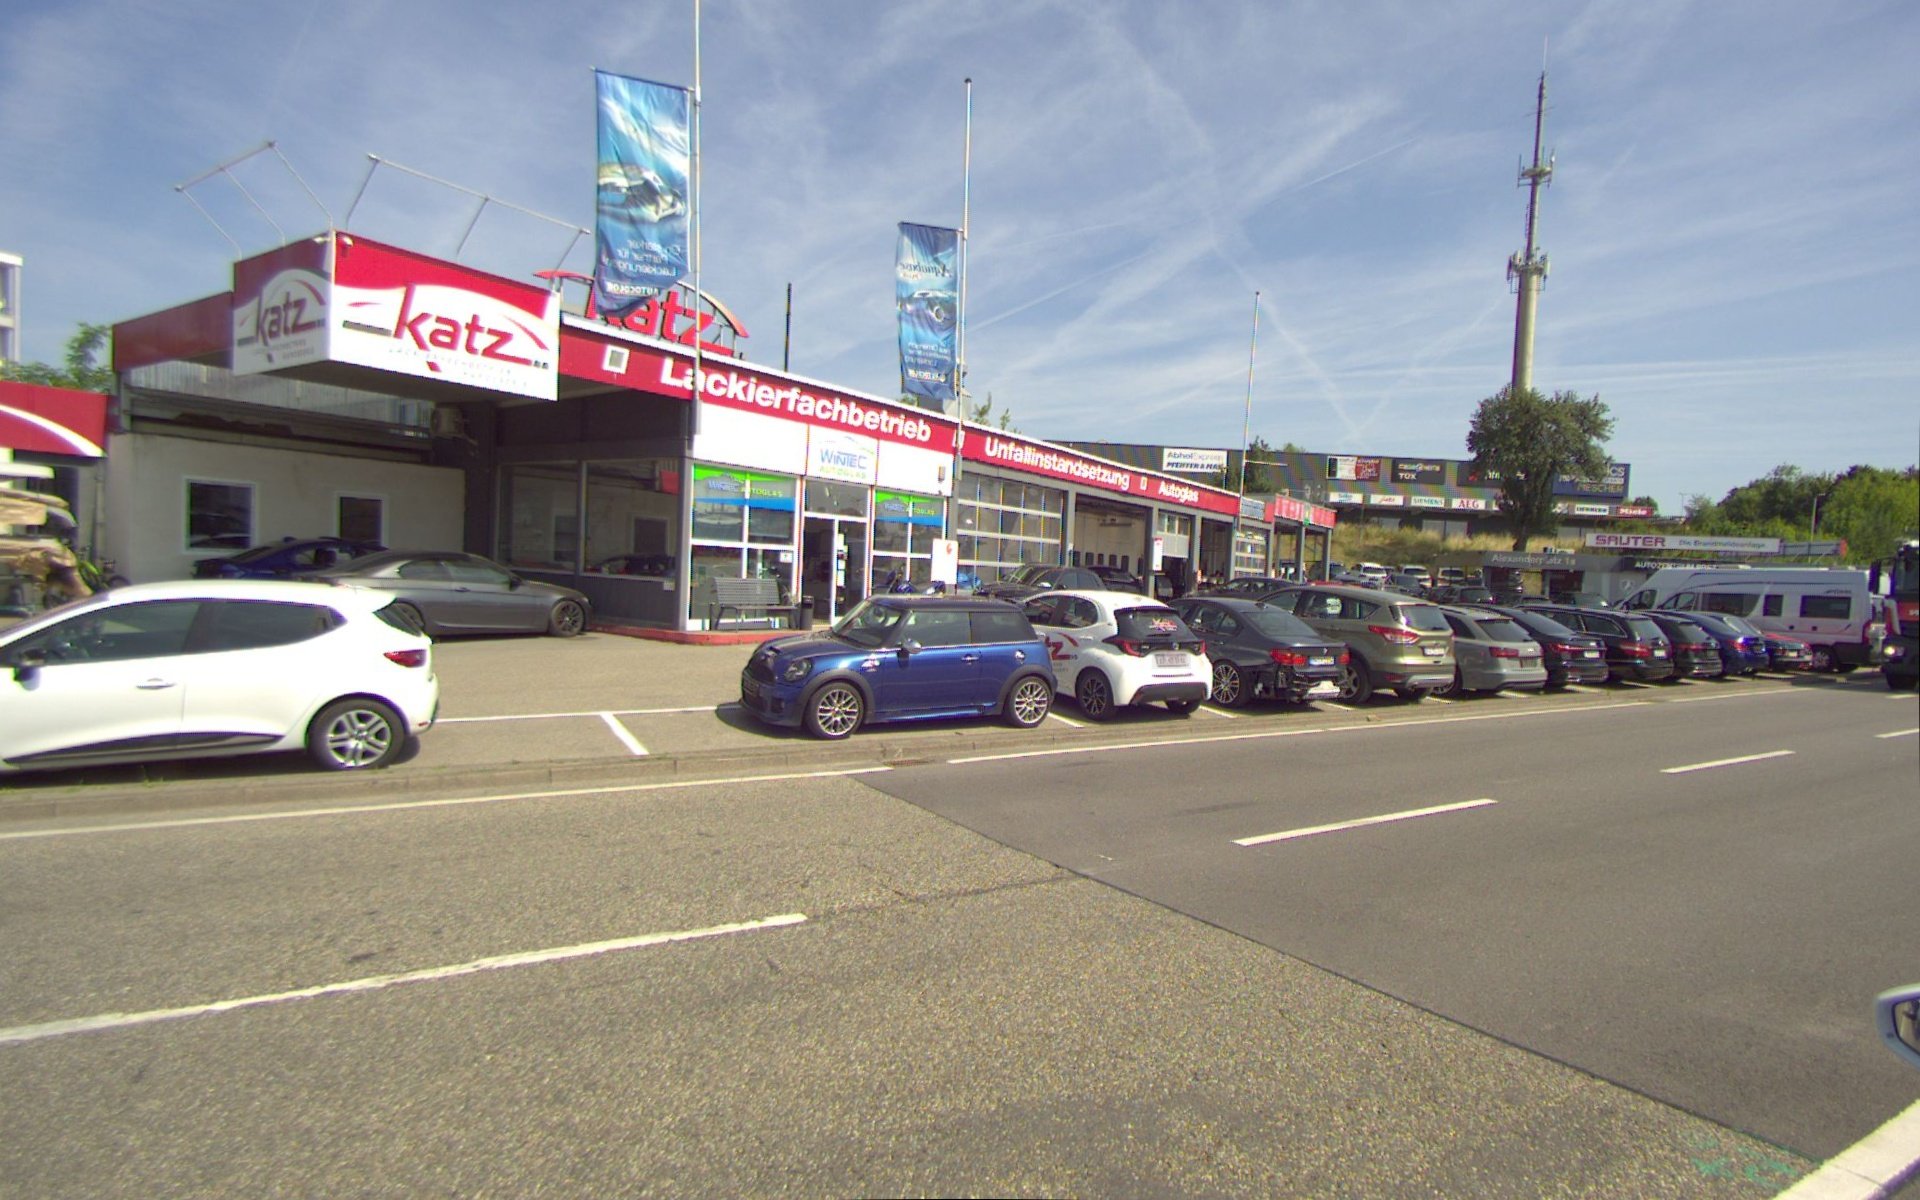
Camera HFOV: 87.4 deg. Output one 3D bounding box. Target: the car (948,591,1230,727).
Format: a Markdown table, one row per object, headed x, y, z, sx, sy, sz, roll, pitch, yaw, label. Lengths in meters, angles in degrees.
| x | y | z | sx | sy | sz | roll | pitch | yaw | label |
| --- | --- | --- | --- | --- | --- | --- | --- | --- | --- |
| 1.644 | 0.696 | 13.899 | 1.828 | 1.546 | 3.771 | 1 | 1 | -34 | car |

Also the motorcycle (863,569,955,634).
| x | y | z | sx | sy | sz | roll | pitch | yaw | label |
| --- | --- | --- | --- | --- | --- | --- | --- | --- | --- |
| -1.030 | 0.039 | 20.825 | 0.760 | 1.278 | 2.047 | 2 | 0 | 37 | motorcycle |

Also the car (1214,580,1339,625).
| x | y | z | sx | sy | sz | roll | pitch | yaw | label |
| --- | --- | --- | --- | --- | --- | --- | --- | --- | --- |
| 10.918 | 0.068 | 34.719 | 3.765 | 1.451 | 1.764 | 2 | 1 | 35 | car |

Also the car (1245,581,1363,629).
| x | y | z | sx | sy | sz | roll | pitch | yaw | label |
| --- | --- | --- | --- | --- | --- | --- | --- | --- | --- |
| 12.645 | 0.159 | 37.021 | 3.765 | 1.609 | 1.764 | 2 | 1 | 35 | car |

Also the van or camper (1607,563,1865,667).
| x | y | z | sx | sy | sz | roll | pitch | yaw | label |
| --- | --- | --- | --- | --- | --- | --- | --- | --- | --- |
| 23.800 | 0.344 | 31.115 | 2.264 | 2.912 | 5.858 | 0 | 2 | -32 | van or camper |

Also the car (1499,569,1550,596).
| x | y | z | sx | sy | sz | roll | pitch | yaw | label |
| --- | --- | --- | --- | --- | --- | --- | --- | --- | --- |
| 33.032 | -0.983 | 58.855 | 1.701 | 1.470 | 3.750 | 3 | 1 | 16 | car |

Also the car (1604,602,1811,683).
| x | y | z | sx | sy | sz | roll | pitch | yaw | label |
| --- | --- | --- | --- | --- | --- | --- | --- | --- | --- |
| 18.435 | 0.980 | 24.915 | 1.690 | 1.505 | 3.683 | 1 | 5 | -34 | car |

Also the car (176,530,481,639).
| x | y | z | sx | sy | sz | roll | pitch | yaw | label |
| --- | --- | --- | --- | --- | --- | --- | --- | --- | --- |
| -10.558 | -0.332 | 17.063 | 1.828 | 1.525 | 3.987 | 7 | 6 | 34 | car |

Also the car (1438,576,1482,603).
| x | y | z | sx | sy | sz | roll | pitch | yaw | label |
| --- | --- | --- | --- | --- | --- | --- | --- | --- | --- |
| 30.122 | -0.628 | 60.608 | 1.701 | 1.470 | 3.750 | 3 | 1 | 16 | car |

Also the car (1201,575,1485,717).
| x | y | z | sx | sy | sz | roll | pitch | yaw | label |
| --- | --- | --- | --- | --- | --- | --- | --- | --- | --- |
| 6.016 | 0.623 | 16.204 | 1.788 | 1.740 | 3.860 | 1 | 5 | -34 | car |

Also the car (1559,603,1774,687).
| x | y | z | sx | sy | sz | roll | pitch | yaw | label |
| --- | --- | --- | --- | --- | --- | --- | --- | --- | --- |
| 16.350 | 0.967 | 23.409 | 1.690 | 1.577 | 3.684 | -1 | 3 | -34 | car |

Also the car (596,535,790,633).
| x | y | z | sx | sy | sz | roll | pitch | yaw | label |
| --- | --- | --- | --- | --- | --- | --- | --- | --- | --- |
| -5.527 | -0.333 | 21.200 | 1.675 | 1.782 | 3.752 | 6 | 3 | 32 | car |

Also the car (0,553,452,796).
| x | y | z | sx | sy | sz | roll | pitch | yaw | label |
| --- | --- | --- | --- | --- | --- | --- | --- | --- | --- |
| -6.311 | 0.497 | 7.956 | 3.954 | 1.639 | 1.770 | 1 | 1 | -31 | car |

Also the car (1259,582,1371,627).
| x | y | z | sx | sy | sz | roll | pitch | yaw | label |
| --- | --- | --- | --- | --- | --- | --- | --- | --- | --- |
| 13.898 | 0.151 | 39.374 | 3.765 | 1.609 | 1.764 | 2 | 1 | 35 | car |

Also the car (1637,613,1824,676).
| x | y | z | sx | sy | sz | roll | pitch | yaw | label |
| --- | --- | --- | --- | --- | --- | --- | --- | --- | --- |
| 20.606 | 1.140 | 26.984 | 1.792 | 1.500 | 3.574 | 1 | 0 | -32 | car |

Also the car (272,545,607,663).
| x | y | z | sx | sy | sz | roll | pitch | yaw | label |
| --- | --- | --- | --- | --- | --- | --- | --- | --- | --- |
| -8.036 | -0.040 | 15.915 | 1.829 | 1.525 | 4.381 | 5 | 5 | 35 | car |

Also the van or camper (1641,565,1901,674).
| x | y | z | sx | sy | sz | roll | pitch | yaw | label |
| --- | --- | --- | --- | --- | --- | --- | --- | --- | --- |
| 22.665 | 0.440 | 28.334 | 2.185 | 2.768 | 5.217 | 1 | 1 | -31 | van or camper |

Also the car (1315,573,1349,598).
| x | y | z | sx | sy | sz | roll | pitch | yaw | label |
| --- | --- | --- | --- | --- | --- | --- | --- | --- | --- |
| 23.328 | -0.877 | 63.096 | 1.701 | 1.470 | 3.750 | 3 | 1 | 16 | car |

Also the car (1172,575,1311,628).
| x | y | z | sx | sy | sz | roll | pitch | yaw | label |
| --- | --- | --- | --- | --- | --- | --- | --- | --- | --- |
| 8.950 | 0.026 | 32.014 | 3.884 | 1.553 | 1.764 | 2 | 1 | 35 | car |

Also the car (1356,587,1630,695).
| x | y | z | sx | sy | sz | roll | pitch | yaw | label |
| --- | --- | --- | --- | --- | --- | --- | --- | --- | --- |
| 10.139 | 0.693 | 19.429 | 1.780 | 1.505 | 4.270 | 1 | 5 | -34 | car |

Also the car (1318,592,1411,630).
| x | y | z | sx | sy | sz | roll | pitch | yaw | label |
| --- | --- | --- | --- | --- | --- | --- | --- | --- | --- |
| 18.477 | 0.463 | 46.051 | 1.745 | 1.609 | 3.805 | 1 | 0 | -25 | car |

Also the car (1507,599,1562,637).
| x | y | z | sx | sy | sz | roll | pitch | yaw | label |
| --- | --- | --- | --- | --- | --- | --- | --- | --- | --- |
| 26.311 | 0.811 | 46.099 | 1.735 | 1.609 | 3.826 | 2 | 0 | 24 | car |

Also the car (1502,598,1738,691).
| x | y | z | sx | sy | sz | roll | pitch | yaw | label |
| --- | --- | --- | --- | --- | --- | --- | --- | --- | --- |
| 14.250 | 0.885 | 21.891 | 1.783 | 1.505 | 3.819 | 1 | 5 | -34 | car |

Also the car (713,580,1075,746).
| x | y | z | sx | sy | sz | roll | pitch | yaw | label |
| --- | --- | --- | --- | --- | --- | --- | --- | --- | --- |
| -0.735 | 0.650 | 11.615 | 3.738 | 1.514 | 1.770 | 1 | 5 | -31 | car |

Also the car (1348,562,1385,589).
| x | y | z | sx | sy | sz | roll | pitch | yaw | label |
| --- | --- | --- | --- | --- | --- | --- | --- | --- | --- |
| 25.303 | -1.507 | 62.658 | 1.701 | 1.558 | 3.750 | 3 | 1 | 16 | car |

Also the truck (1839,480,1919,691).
| x | y | z | sx | sy | sz | roll | pitch | yaw | label |
| --- | --- | --- | --- | --- | --- | --- | --- | --- | --- |
| 23.919 | -0.220 | 22.944 | 10.528 | 4.265 | 2.940 | 1 | -1 | -32 | truck |

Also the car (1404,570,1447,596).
| x | y | z | sx | sy | sz | roll | pitch | yaw | label |
| --- | --- | --- | --- | --- | --- | --- | --- | --- | --- |
| 28.300 | -1.012 | 61.160 | 1.701 | 1.470 | 3.750 | 3 | 1 | 16 | car |

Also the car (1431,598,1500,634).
| x | y | z | sx | sy | sz | roll | pitch | yaw | label |
| --- | --- | --- | --- | --- | --- | --- | --- | --- | --- |
| 23.954 | 0.733 | 47.735 | 1.733 | 1.609 | 3.831 | 1 | 0 | 7 | car |

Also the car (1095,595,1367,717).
| x | y | z | sx | sy | sz | roll | pitch | yaw | label |
| --- | --- | --- | --- | --- | --- | --- | --- | --- | --- |
| 3.922 | 0.733 | 15.051 | 1.774 | 1.546 | 3.684 | 1 | 0 | -34 | car |

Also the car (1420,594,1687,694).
| x | y | z | sx | sy | sz | roll | pitch | yaw | label |
| --- | --- | --- | --- | --- | --- | --- | --- | --- | --- |
| 12.257 | 0.821 | 21.061 | 1.754 | 1.505 | 4.430 | 1 | 5 | -34 | car |

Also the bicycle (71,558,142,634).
| x | y | z | sx | sy | sz | roll | pitch | yaw | label |
| --- | --- | --- | --- | --- | --- | --- | --- | --- | --- |
| -13.611 | -0.075 | 15.991 | 1.967 | 0.984 | 0.413 | 8 | 4 | 37 | bicycle |

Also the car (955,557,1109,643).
| x | y | z | sx | sy | sz | roll | pitch | yaw | label |
| --- | --- | --- | --- | --- | --- | --- | --- | --- | --- |
| 1.816 | 0.019 | 24.029 | 1.796 | 1.696 | 4.118 | 9 | 3 | 32 | car |

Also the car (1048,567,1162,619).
| x | y | z | sx | sy | sz | roll | pitch | yaw | label |
| --- | --- | --- | --- | --- | --- | --- | --- | --- | --- |
| 5.076 | -0.232 | 34.818 | 1.886 | 1.694 | 3.989 | 2 | 1 | 45 | car |

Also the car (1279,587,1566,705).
| x | y | z | sx | sy | sz | roll | pitch | yaw | label |
| --- | --- | --- | --- | --- | --- | --- | --- | --- | --- |
| 8.042 | 0.704 | 17.868 | 1.817 | 1.505 | 4.249 | 1 | 5 | -34 | car |
